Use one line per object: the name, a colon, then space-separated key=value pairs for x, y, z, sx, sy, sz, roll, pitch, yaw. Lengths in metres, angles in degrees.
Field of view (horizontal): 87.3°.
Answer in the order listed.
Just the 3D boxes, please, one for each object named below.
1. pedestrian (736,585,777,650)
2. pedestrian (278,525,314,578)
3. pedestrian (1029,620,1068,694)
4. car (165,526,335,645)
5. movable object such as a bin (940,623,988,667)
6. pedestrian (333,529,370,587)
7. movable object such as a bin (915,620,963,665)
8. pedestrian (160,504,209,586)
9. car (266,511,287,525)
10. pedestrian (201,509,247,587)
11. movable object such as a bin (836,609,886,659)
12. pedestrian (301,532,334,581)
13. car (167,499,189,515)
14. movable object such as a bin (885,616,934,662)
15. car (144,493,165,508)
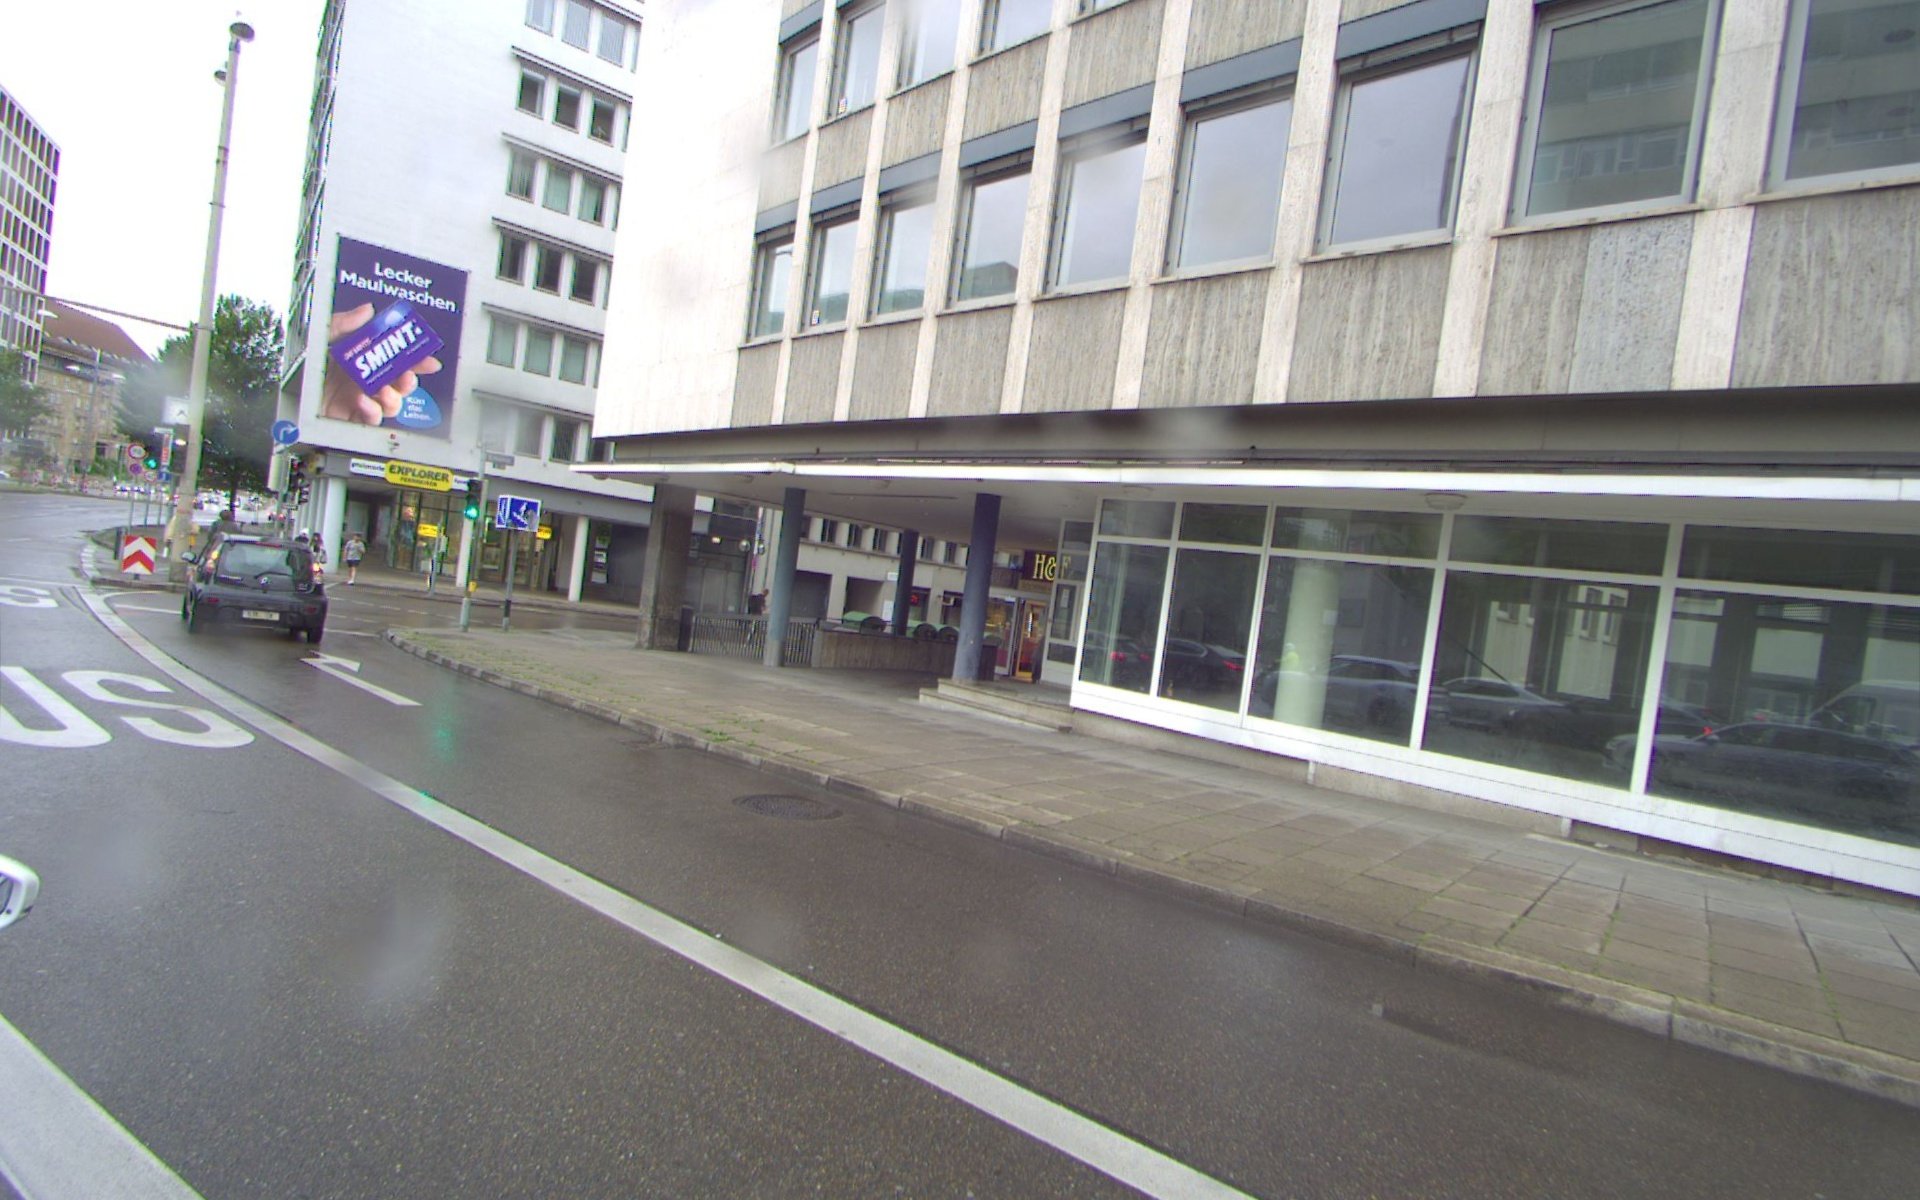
pedestrian: x=-5.860 y=0.501 z=28.966 sx=0.768 sy=1.752 sz=0.589 roll=7 pitch=0 yaw=-44
pedestrian: x=-22.633 y=-1.638 z=34.305 sx=0.660 sy=1.675 sz=0.651 roll=8 pitch=0 yaw=-15
pedestrian: x=2.307 y=1.478 z=26.178 sx=0.697 sy=1.825 sz=0.801 roll=8 pitch=0 yaw=13
car: x=-10.971 y=-0.278 z=15.426 sx=1.566 sy=1.446 sz=3.953 roll=9 pitch=-2 yaw=-42
movable object such as a bin: x=0.148 y=1.635 z=36.640 sx=1.095 sy=1.399 sz=1.186 roll=7 pitch=1 yaw=-37
pedestrian: x=-20.349 y=-1.390 z=33.667 sx=0.660 sy=1.815 sz=0.771 roll=7 pitch=0 yaw=-15
movable object such as a bin: x=-0.756 y=1.508 z=35.952 sx=1.095 sy=1.399 sz=1.186 roll=7 pitch=1 yaw=-37
pedestrian: x=-18.425 y=-1.314 z=23.908 sx=0.745 sy=1.820 sz=0.808 roll=7 pitch=1 yaw=-38
car: x=-91.545 y=-10.978 z=134.769 sx=1.680 sy=1.503 sz=3.973 roll=8 pitch=-2 yaw=-28
pedestrian: x=-18.354 y=-1.291 z=25.081 sx=0.745 sy=1.820 sz=0.808 roll=7 pitch=1 yaw=-38
movable object such as a bin: x=-3.308 y=1.126 z=33.537 sx=0.961 sy=1.447 sz=1.268 roll=7 pitch=1 yaw=-36
pedestrian: x=-21.998 y=-1.483 z=34.468 sx=0.616 sy=1.561 sz=0.651 roll=8 pitch=0 yaw=-15
car: x=-98.523 y=-11.741 z=126.773 sx=1.878 sy=1.662 sz=3.962 roll=8 pitch=-1 yaw=-35
movable object such as a bin: x=-1.767 y=1.356 z=35.161 sx=1.095 sy=1.399 sz=1.186 roll=7 pitch=1 yaw=-37
car: x=-134.167 y=-16.602 z=167.510 sx=1.980 sy=2.037 sz=3.968 roll=8 pitch=-1 yaw=-31
